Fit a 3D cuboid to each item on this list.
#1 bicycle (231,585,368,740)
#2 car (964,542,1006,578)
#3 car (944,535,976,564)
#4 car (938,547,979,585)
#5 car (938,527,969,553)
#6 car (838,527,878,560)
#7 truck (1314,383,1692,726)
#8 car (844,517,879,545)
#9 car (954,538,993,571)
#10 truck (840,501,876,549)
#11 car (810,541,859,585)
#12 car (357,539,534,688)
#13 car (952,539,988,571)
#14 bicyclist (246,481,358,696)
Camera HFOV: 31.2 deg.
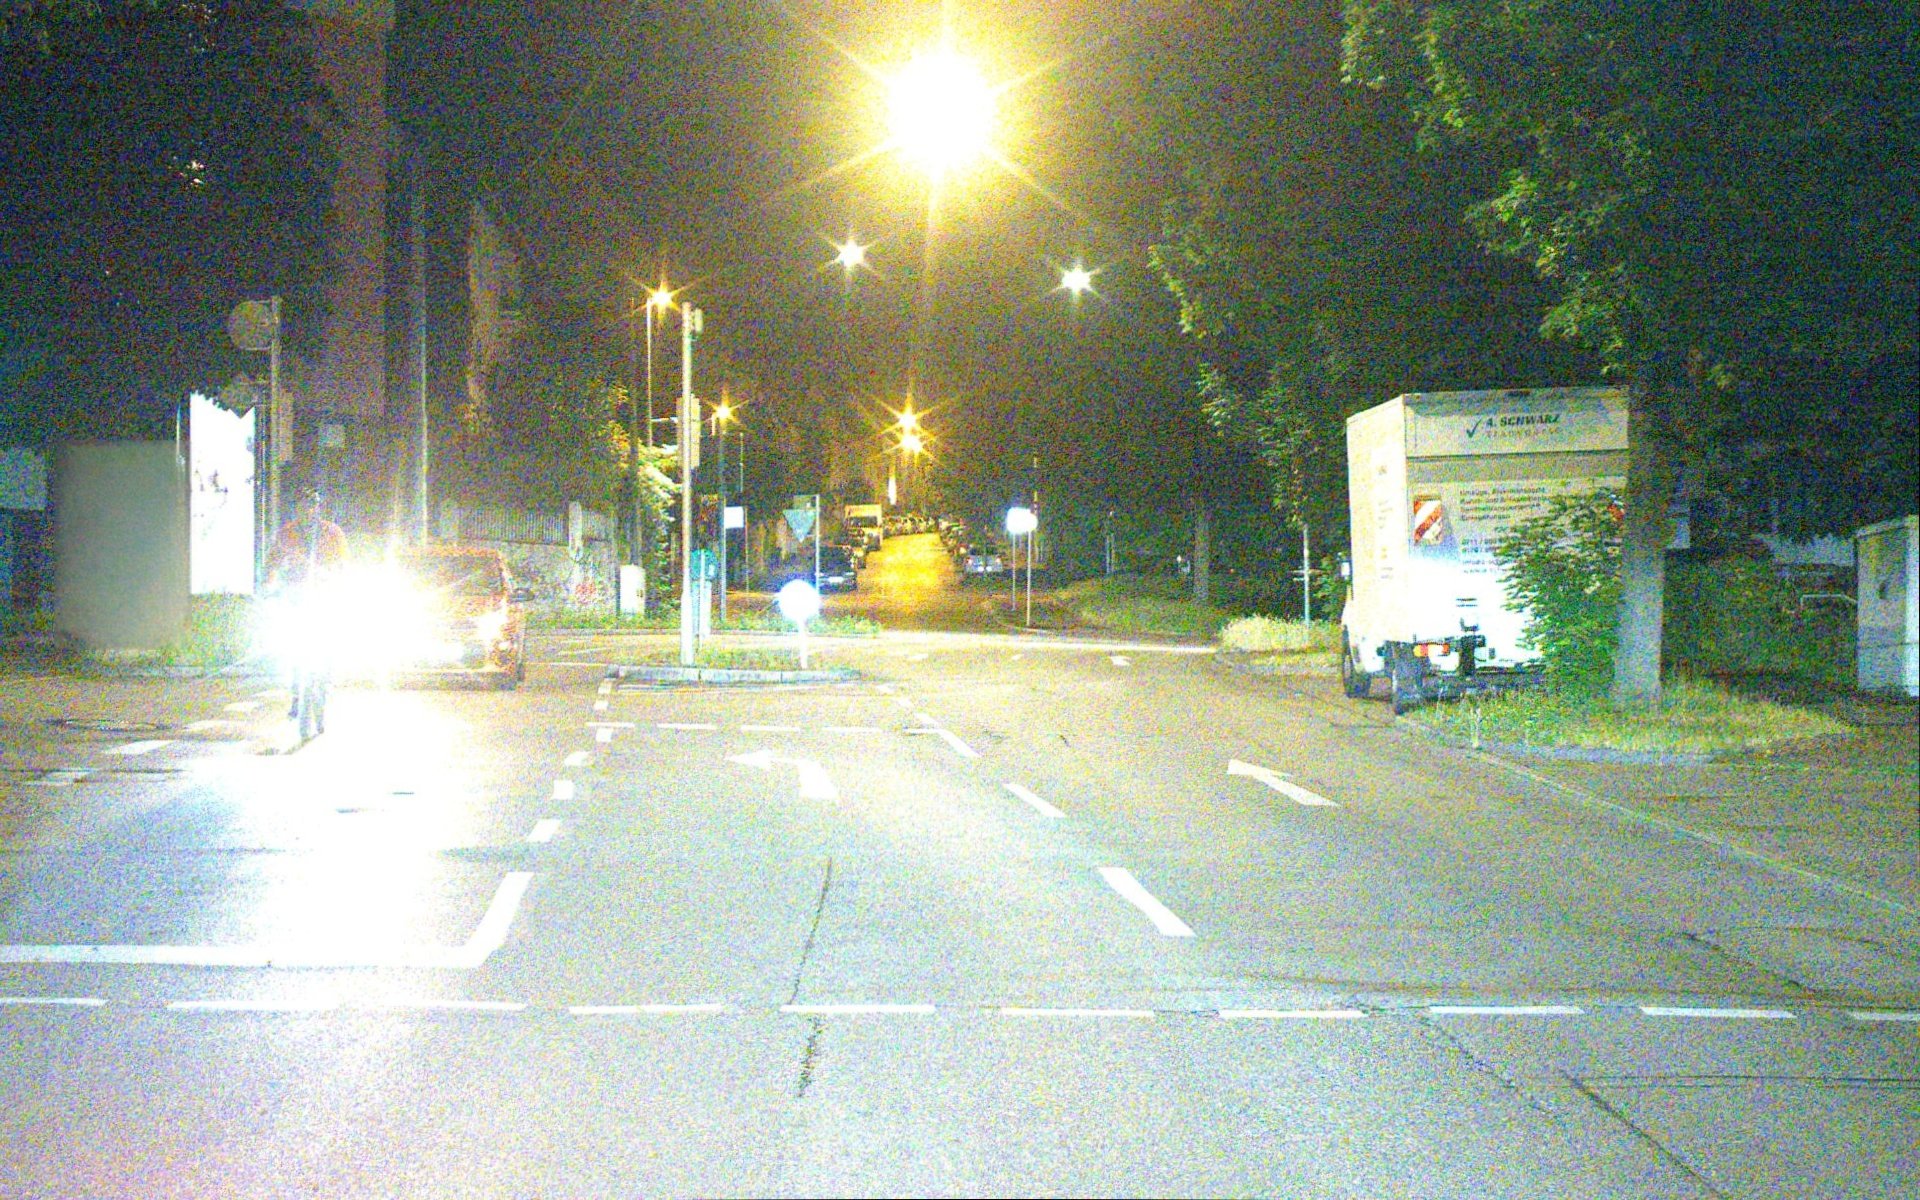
[{"bbox_3d":[-5.089,0.461,26.578,0.696,1.145,1.951,1,0,-1],"label":"bicycle"},{"bbox_3d":[1.031,-1.680,143.362,1.634,1.447,3.485,1,1,-1],"label":"car"},{"bbox_3d":[-0.015,-2.626,178.517,1.634,1.447,3.485,1,1,-1],"label":"car"},{"bbox_3d":[-0.080,-1.376,137.822,1.593,1.471,3.654,0,1,-1],"label":"car"},{"bbox_3d":[-0.368,-3.343,191.482,1.634,1.447,3.485,1,1,-1],"label":"car"},{"bbox_3d":[-4.788,-2.619,160.569,1.815,1.486,4.000,1,1,-2],"label":"car"},{"bbox_3d":[5.290,-0.466,34.581,2.749,3.100,6.258,1,1,0],"label":"truck"},{"bbox_3d":[-5.368,-3.741,186.950,1.815,1.486,4.000,1,1,-2],"label":"car"},{"bbox_3d":[0.592,-2.038,153.095,1.634,1.447,3.485,1,1,-1],"label":"car"},{"bbox_3d":[-6.213,-4.549,209.580,2.086,2.838,5.832,1,1,-2],"label":"truck"},{"bbox_3d":[-4.895,-1.463,134.448,1.815,1.678,4.000,1,1,-1],"label":"car"},{"bbox_3d":[-5.430,0.111,36.586,1.581,1.496,3.396,1,1,-4],"label":"car"},{"bbox_3d":[0.455,-2.090,159.280,1.634,1.447,3.485,1,1,-1],"label":"car"},{"bbox_3d":[-5.081,-0.090,26.593,0.690,1.631,0.896,1,0,-1],"label":"bicyclist"}]
